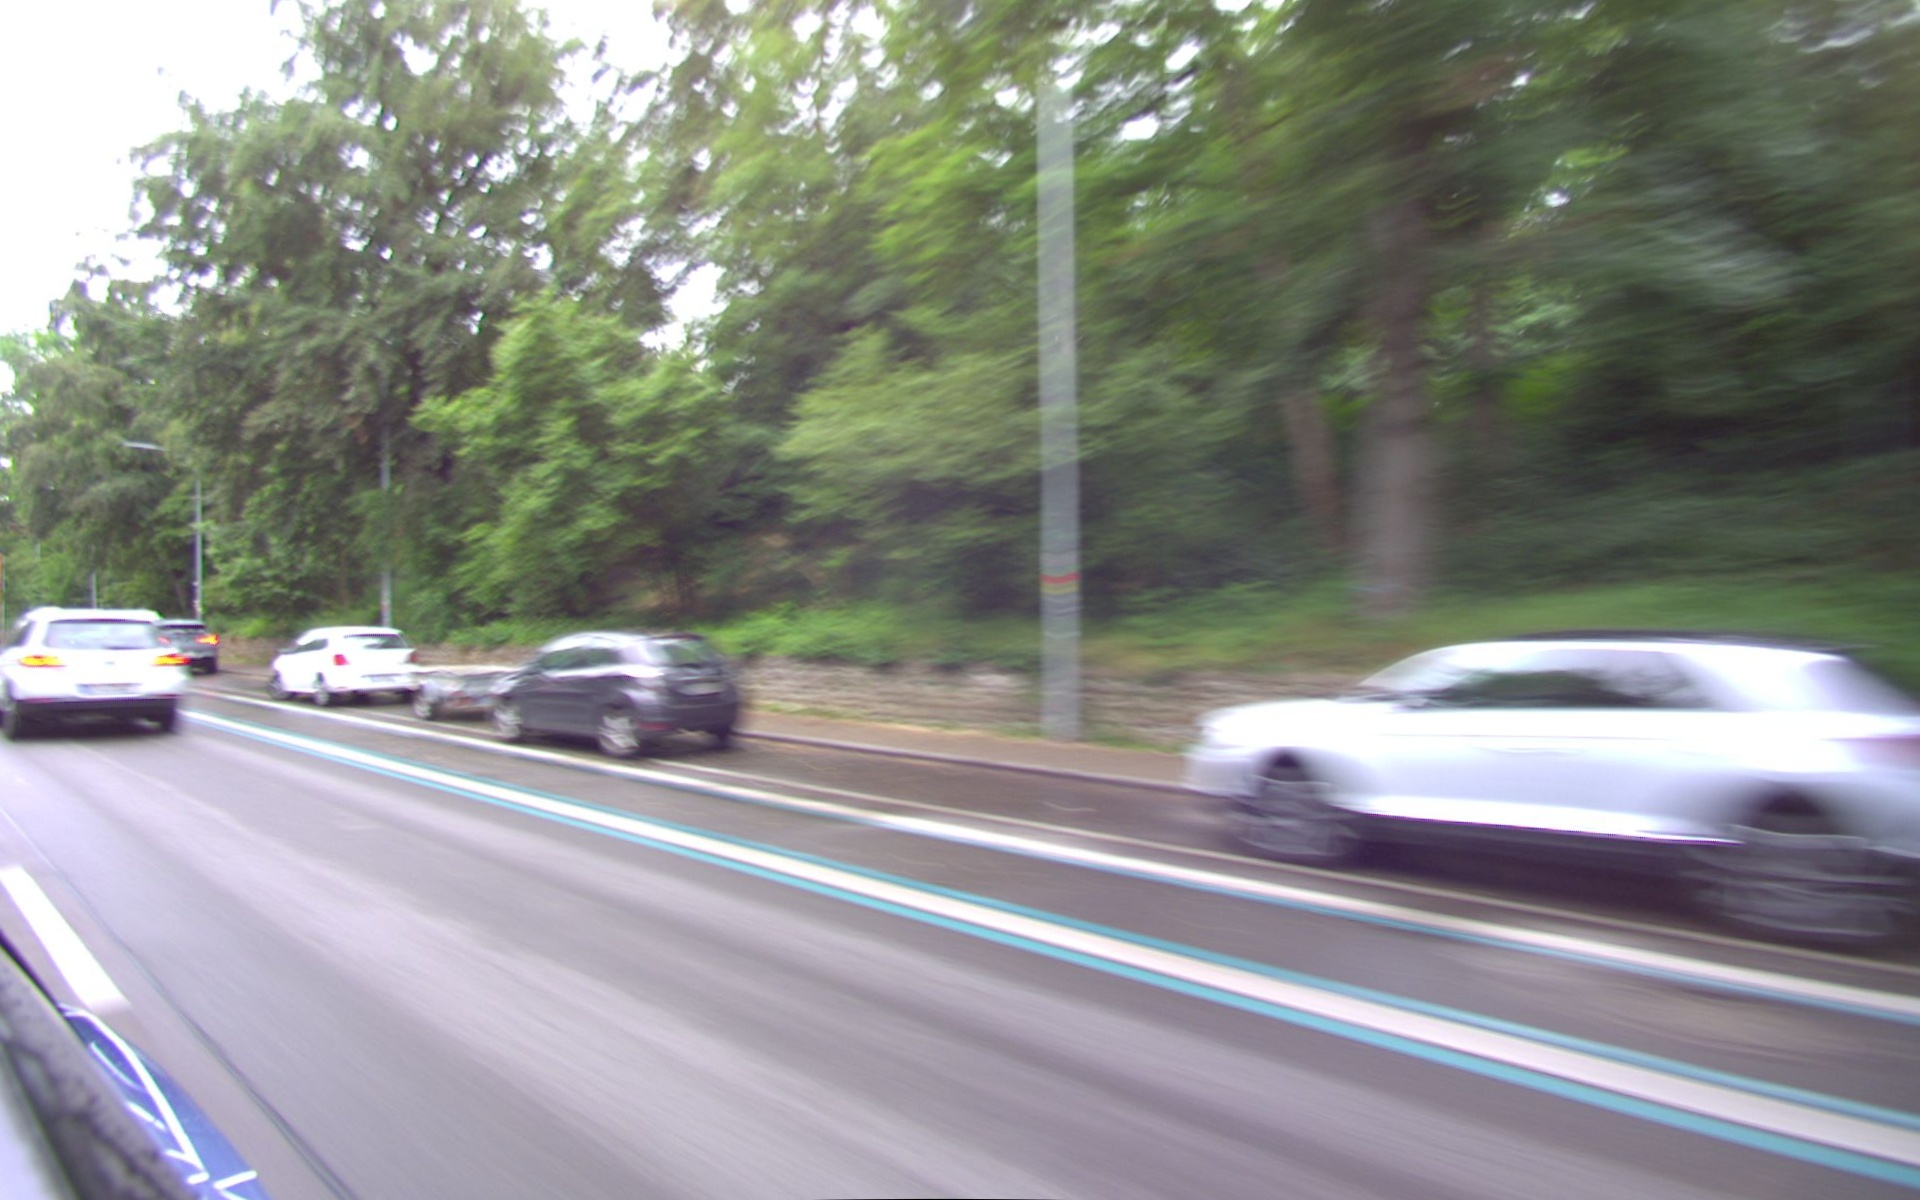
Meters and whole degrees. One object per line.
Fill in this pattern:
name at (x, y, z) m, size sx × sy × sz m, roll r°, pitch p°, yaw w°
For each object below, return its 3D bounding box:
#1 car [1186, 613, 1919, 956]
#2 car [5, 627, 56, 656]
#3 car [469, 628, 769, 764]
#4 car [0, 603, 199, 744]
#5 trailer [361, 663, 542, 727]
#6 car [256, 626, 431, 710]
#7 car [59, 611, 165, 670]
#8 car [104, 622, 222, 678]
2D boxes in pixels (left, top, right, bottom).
car at (3.717, 0.890, 6.278) m, size 4.230 × 1.558 × 1.670 m, roll -2°, pitch -2°, yaw 41°
car at (-49.706, 2.198, 54.116) m, size 4.027 × 1.416 × 1.672 m, roll -2°, pitch -1°, yaw 42°
car at (-4.500, 1.122, 13.112) m, size 4.035 × 1.488 × 1.813 m, roll -2°, pitch -2°, yaw 39°
car at (-12.308, 0.955, 14.119) m, size 4.178 × 1.679 × 1.815 m, roll -1°, pitch -4°, yaw 41°
trailer at (-8.498, 1.520, 16.819) m, size 3.302 × 0.825 × 1.527 m, roll -1°, pitch -1°, yaw 40°
car at (-12.340, 1.290, 20.179) m, size 3.978 × 1.493 × 1.771 m, roll -2°, pitch -2°, yaw 40°
car at (-31.510, 1.488, 37.571) m, size 5.010 × 2.020 × 1.955 m, roll -2°, pitch -1°, yaw 37°
car at (-24.717, 1.504, 31.332) m, size 4.776 × 1.618 × 1.989 m, roll -2°, pitch -2°, yaw 41°
